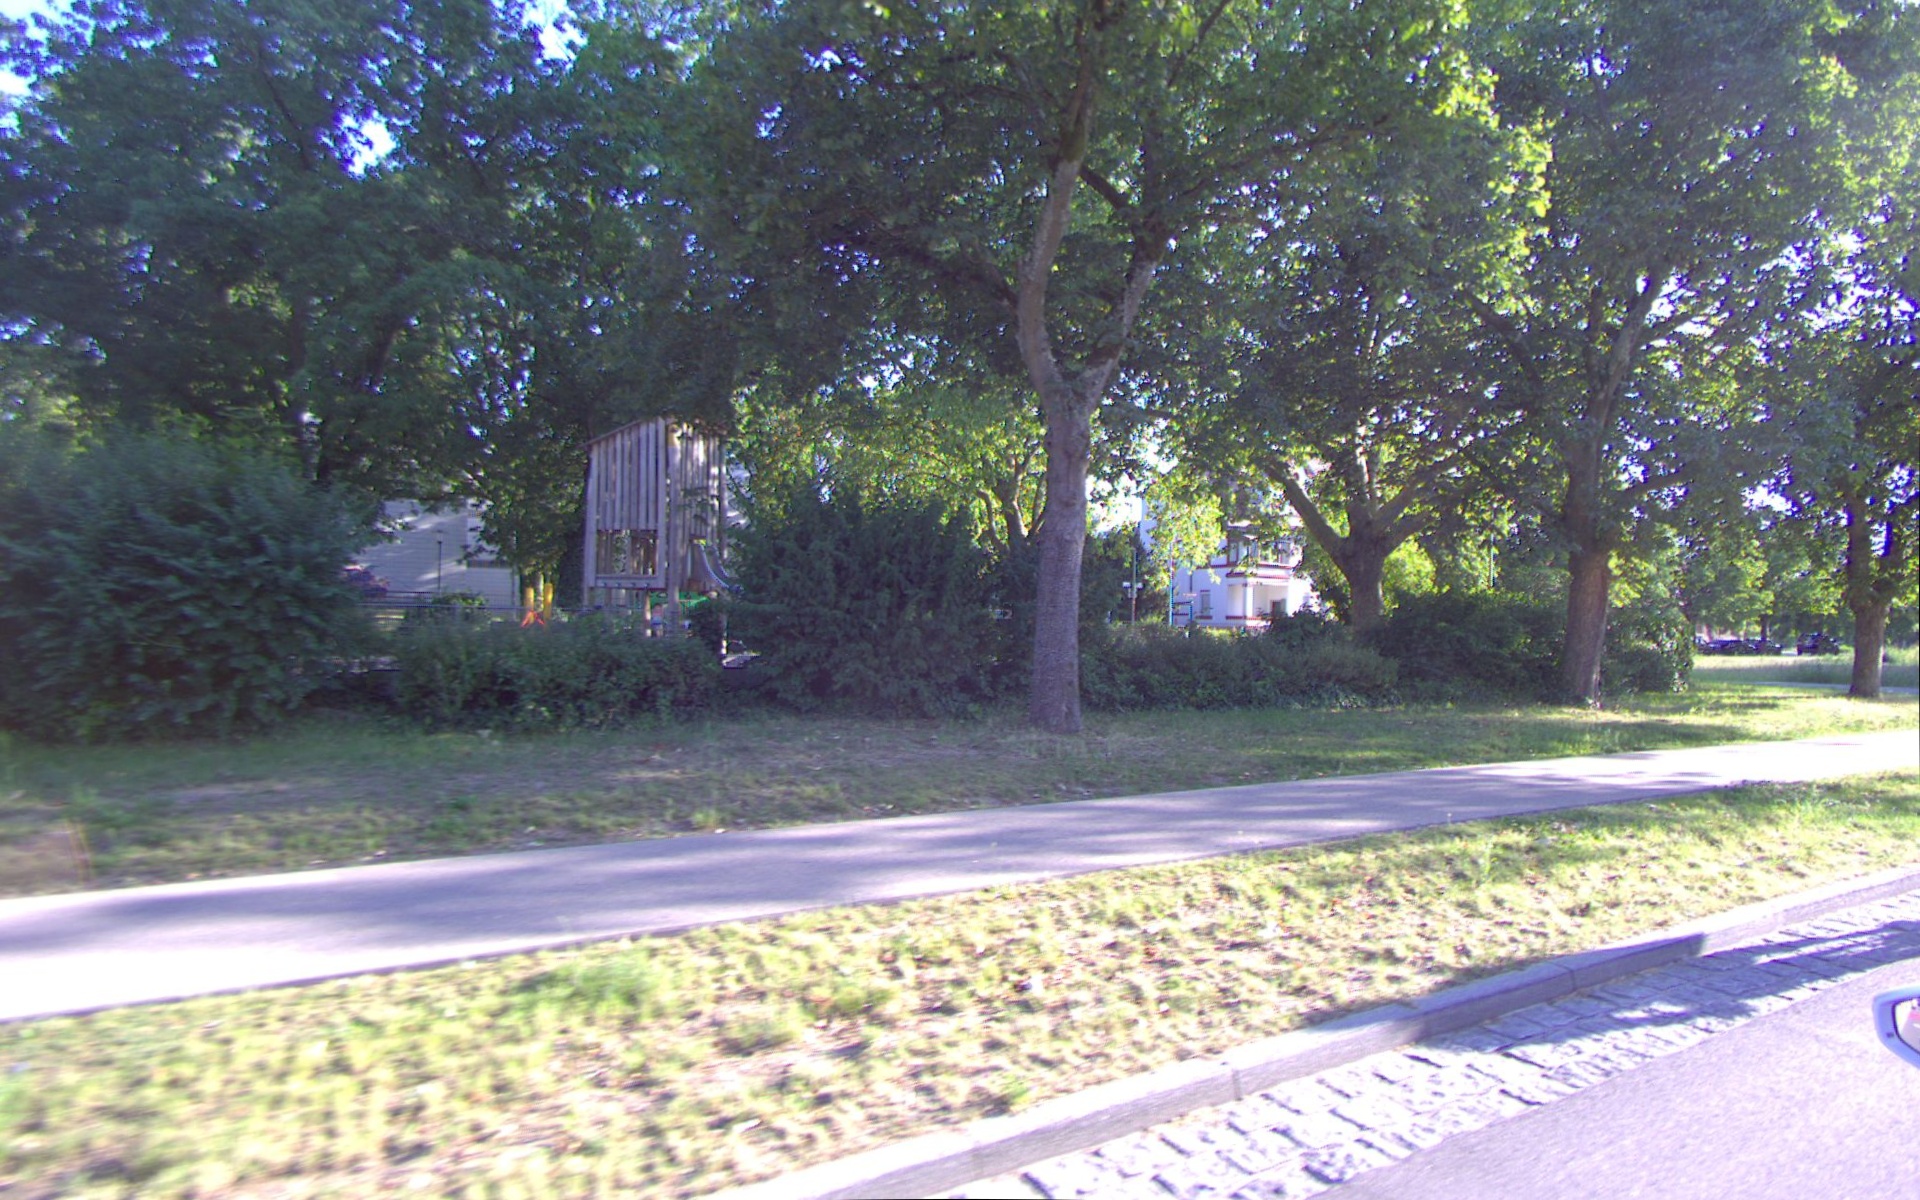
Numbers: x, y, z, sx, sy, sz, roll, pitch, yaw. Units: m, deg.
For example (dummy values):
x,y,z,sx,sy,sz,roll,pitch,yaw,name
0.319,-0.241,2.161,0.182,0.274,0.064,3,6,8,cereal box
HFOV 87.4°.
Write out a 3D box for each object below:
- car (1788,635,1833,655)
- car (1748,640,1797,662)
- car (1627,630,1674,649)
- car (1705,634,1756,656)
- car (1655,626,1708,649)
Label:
x,y,z,sx,sy,sz,roll,pitch,yaw,name
72.547,3.803,85.643,4.173,1.619,1.684,2,-1,-31,car
64.542,4.034,79.801,4.173,1.619,1.684,2,-1,-31,car
56.642,3.232,82.391,3.954,1.424,1.621,2,-1,-31,car
58.959,3.445,76.822,4.173,1.619,1.684,2,-1,-31,car
53.289,2.802,74.189,4.173,1.619,1.684,2,-1,-31,car
